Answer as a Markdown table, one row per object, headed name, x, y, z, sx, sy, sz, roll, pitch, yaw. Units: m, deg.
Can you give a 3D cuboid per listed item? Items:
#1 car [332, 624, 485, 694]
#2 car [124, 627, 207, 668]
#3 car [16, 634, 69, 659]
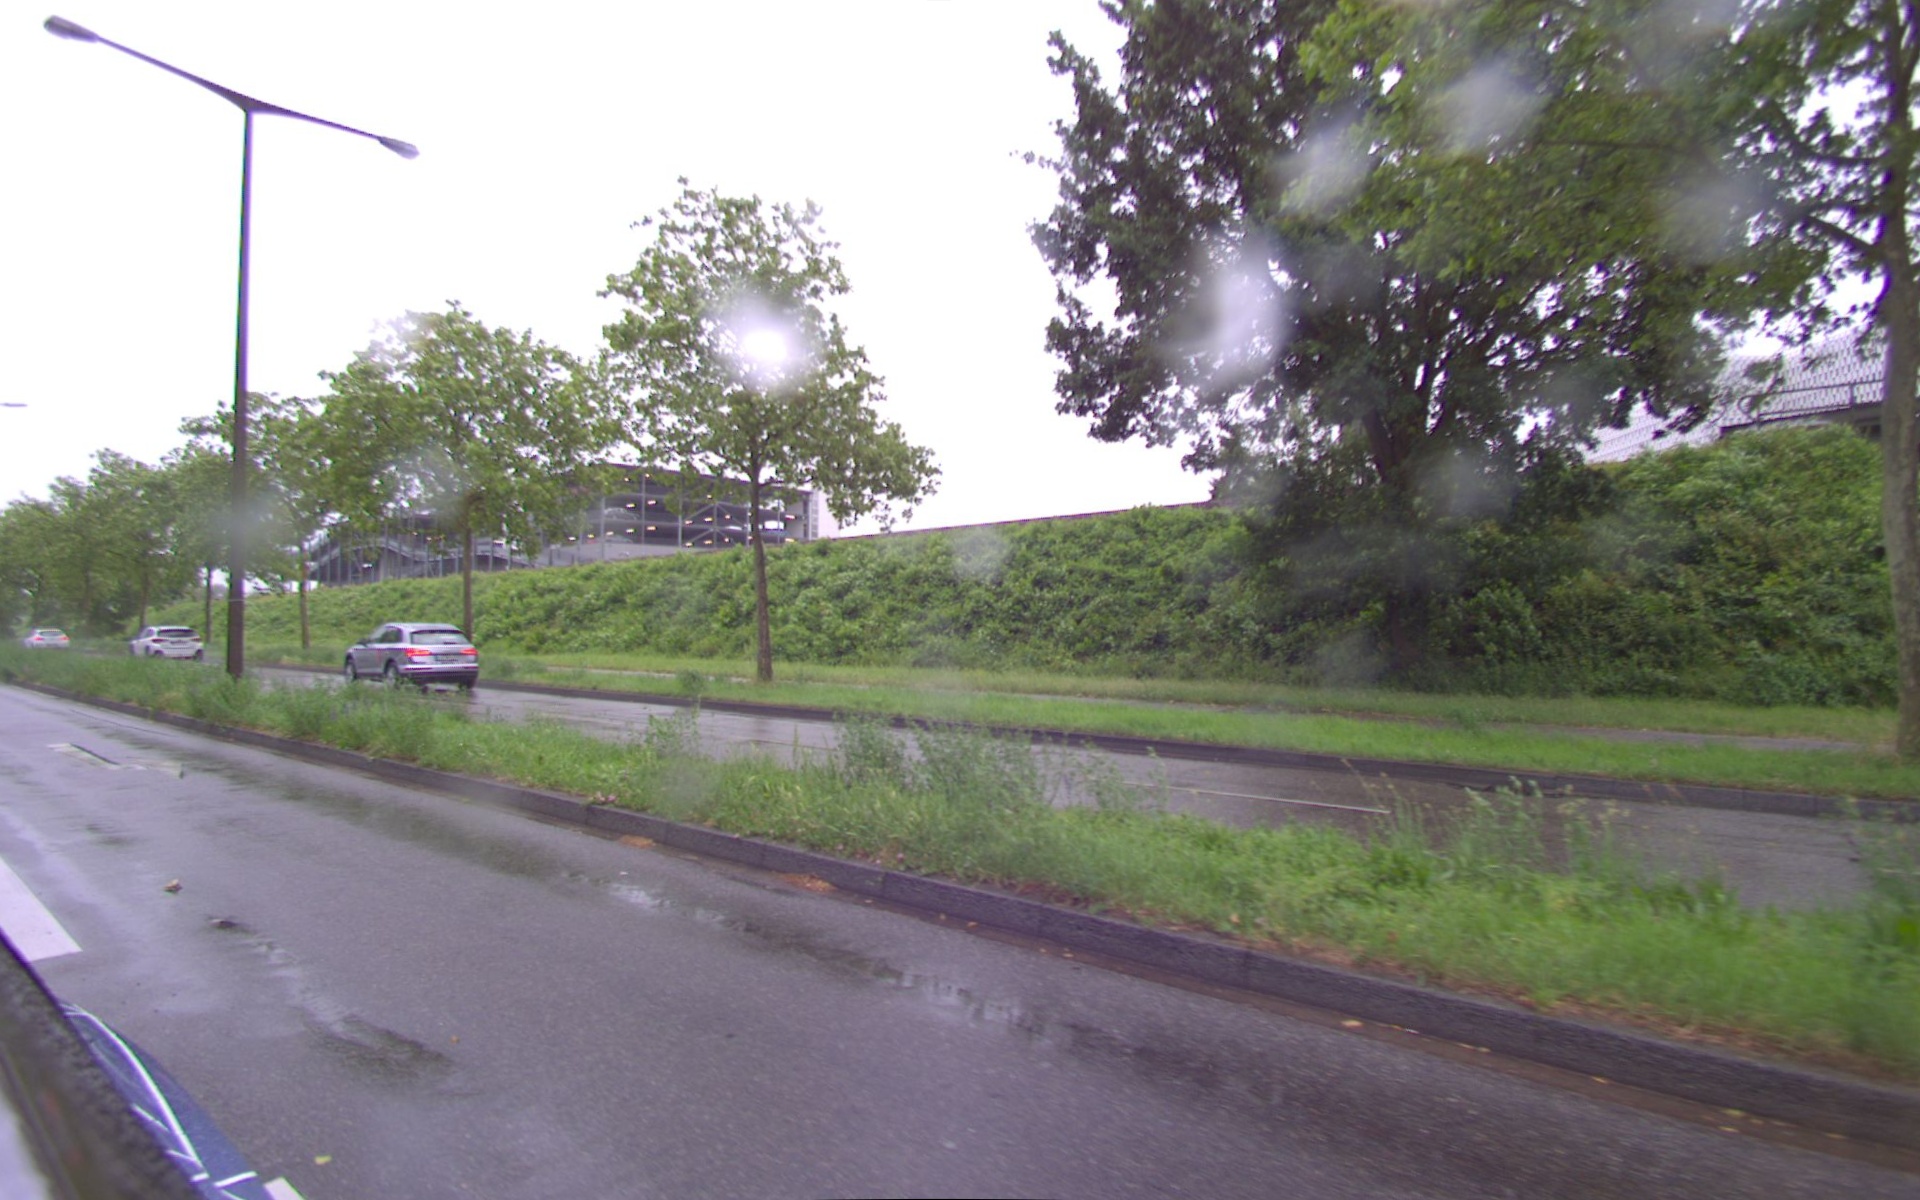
| name | x | y | z | sx | sy | sz | roll | pitch | yaw |
| --- | --- | --- | --- | --- | --- | --- | --- | --- | --- |
| car | -13.731 | 1.421 | 25.100 | 4.516 | 1.601 | 1.837 | -1 | -4 | 41 |
| car | -32.582 | 1.900 | 41.465 | 4.516 | 1.601 | 1.837 | -1 | -3 | 41 |
| car | -57.414 | 2.893 | 63.318 | 4.654 | 1.456 | 1.911 | -2 | -2 | 41 |
